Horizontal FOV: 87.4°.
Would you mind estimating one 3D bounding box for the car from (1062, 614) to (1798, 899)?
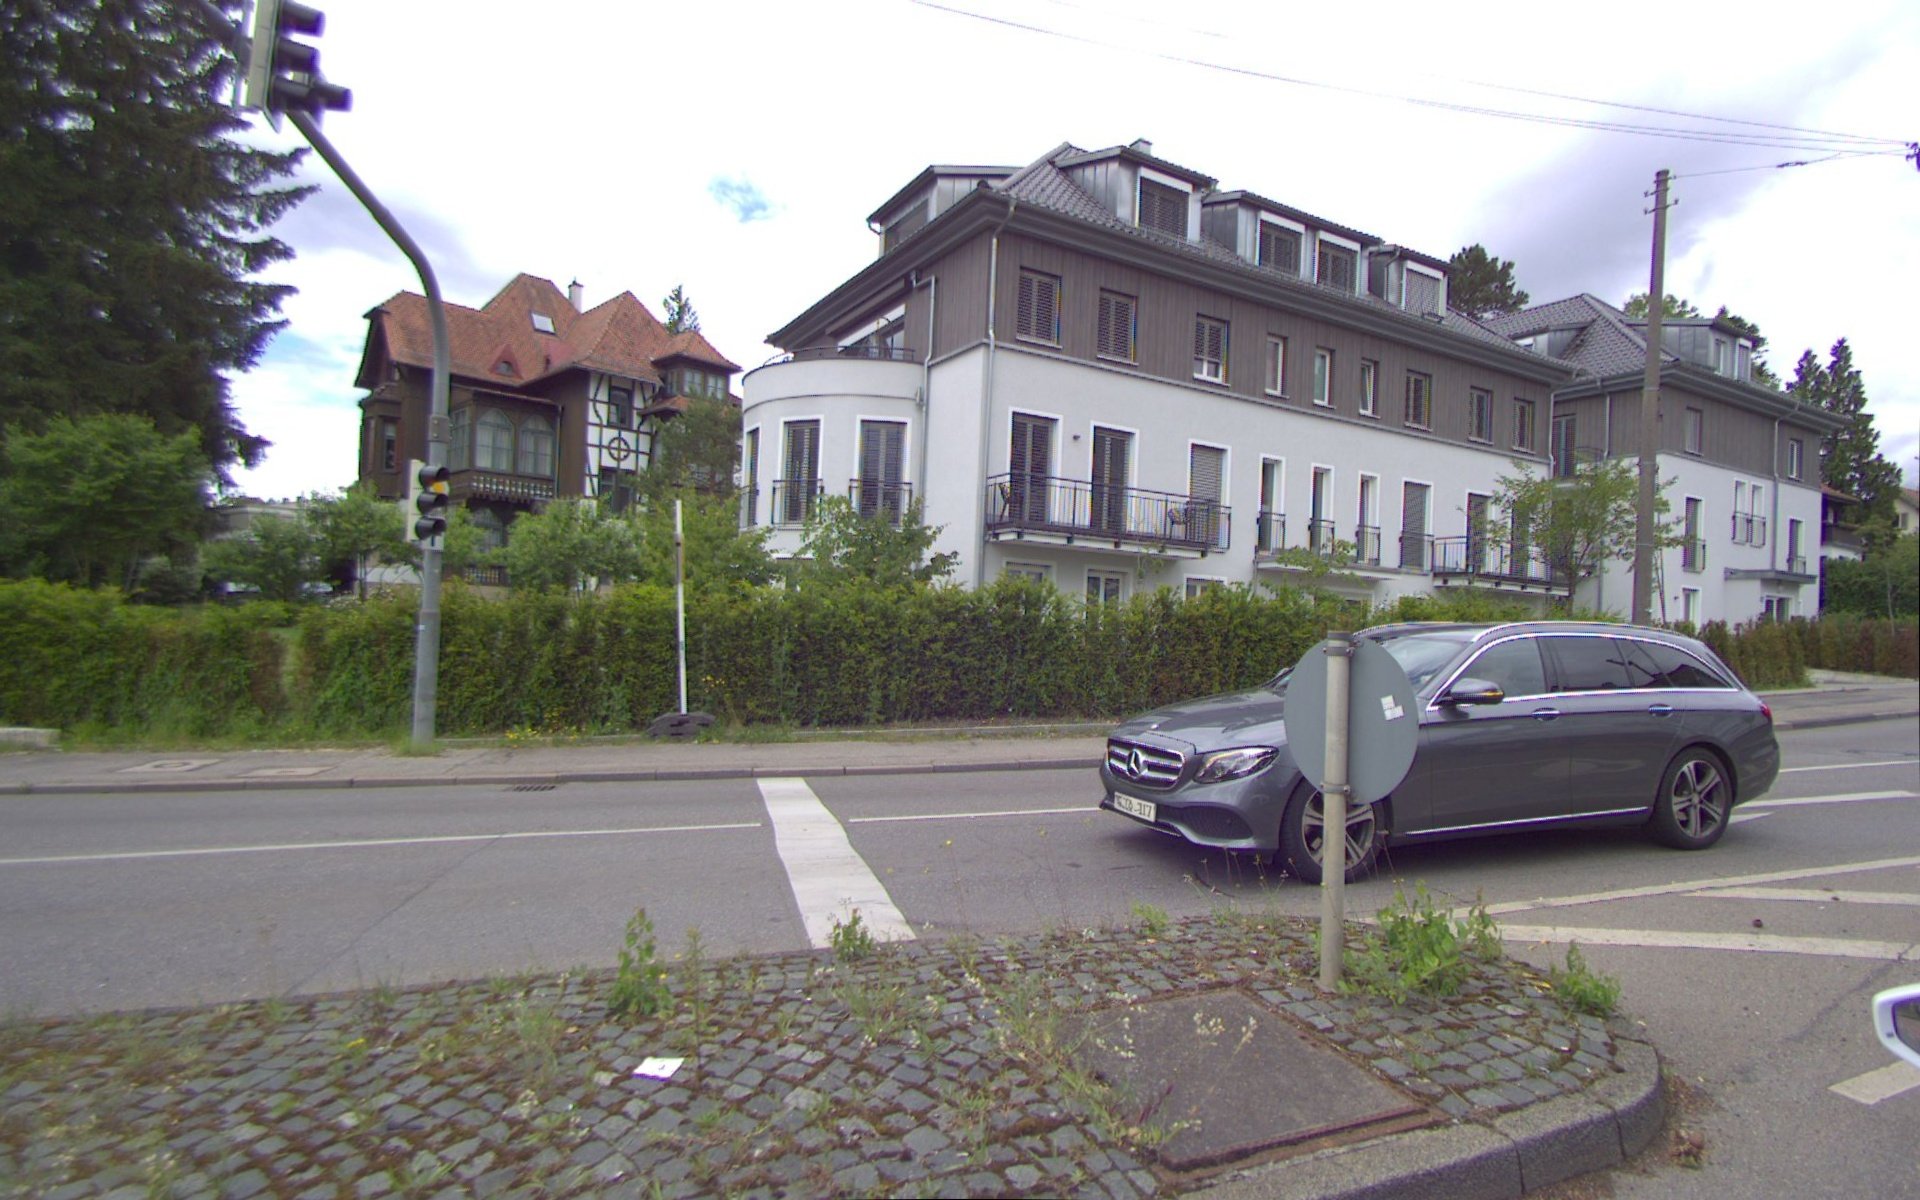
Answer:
[{"bbox_3d":[3.210,0.869,6.940,4.674,1.504,1.824,1,-1,-19],"label":"car"}]
